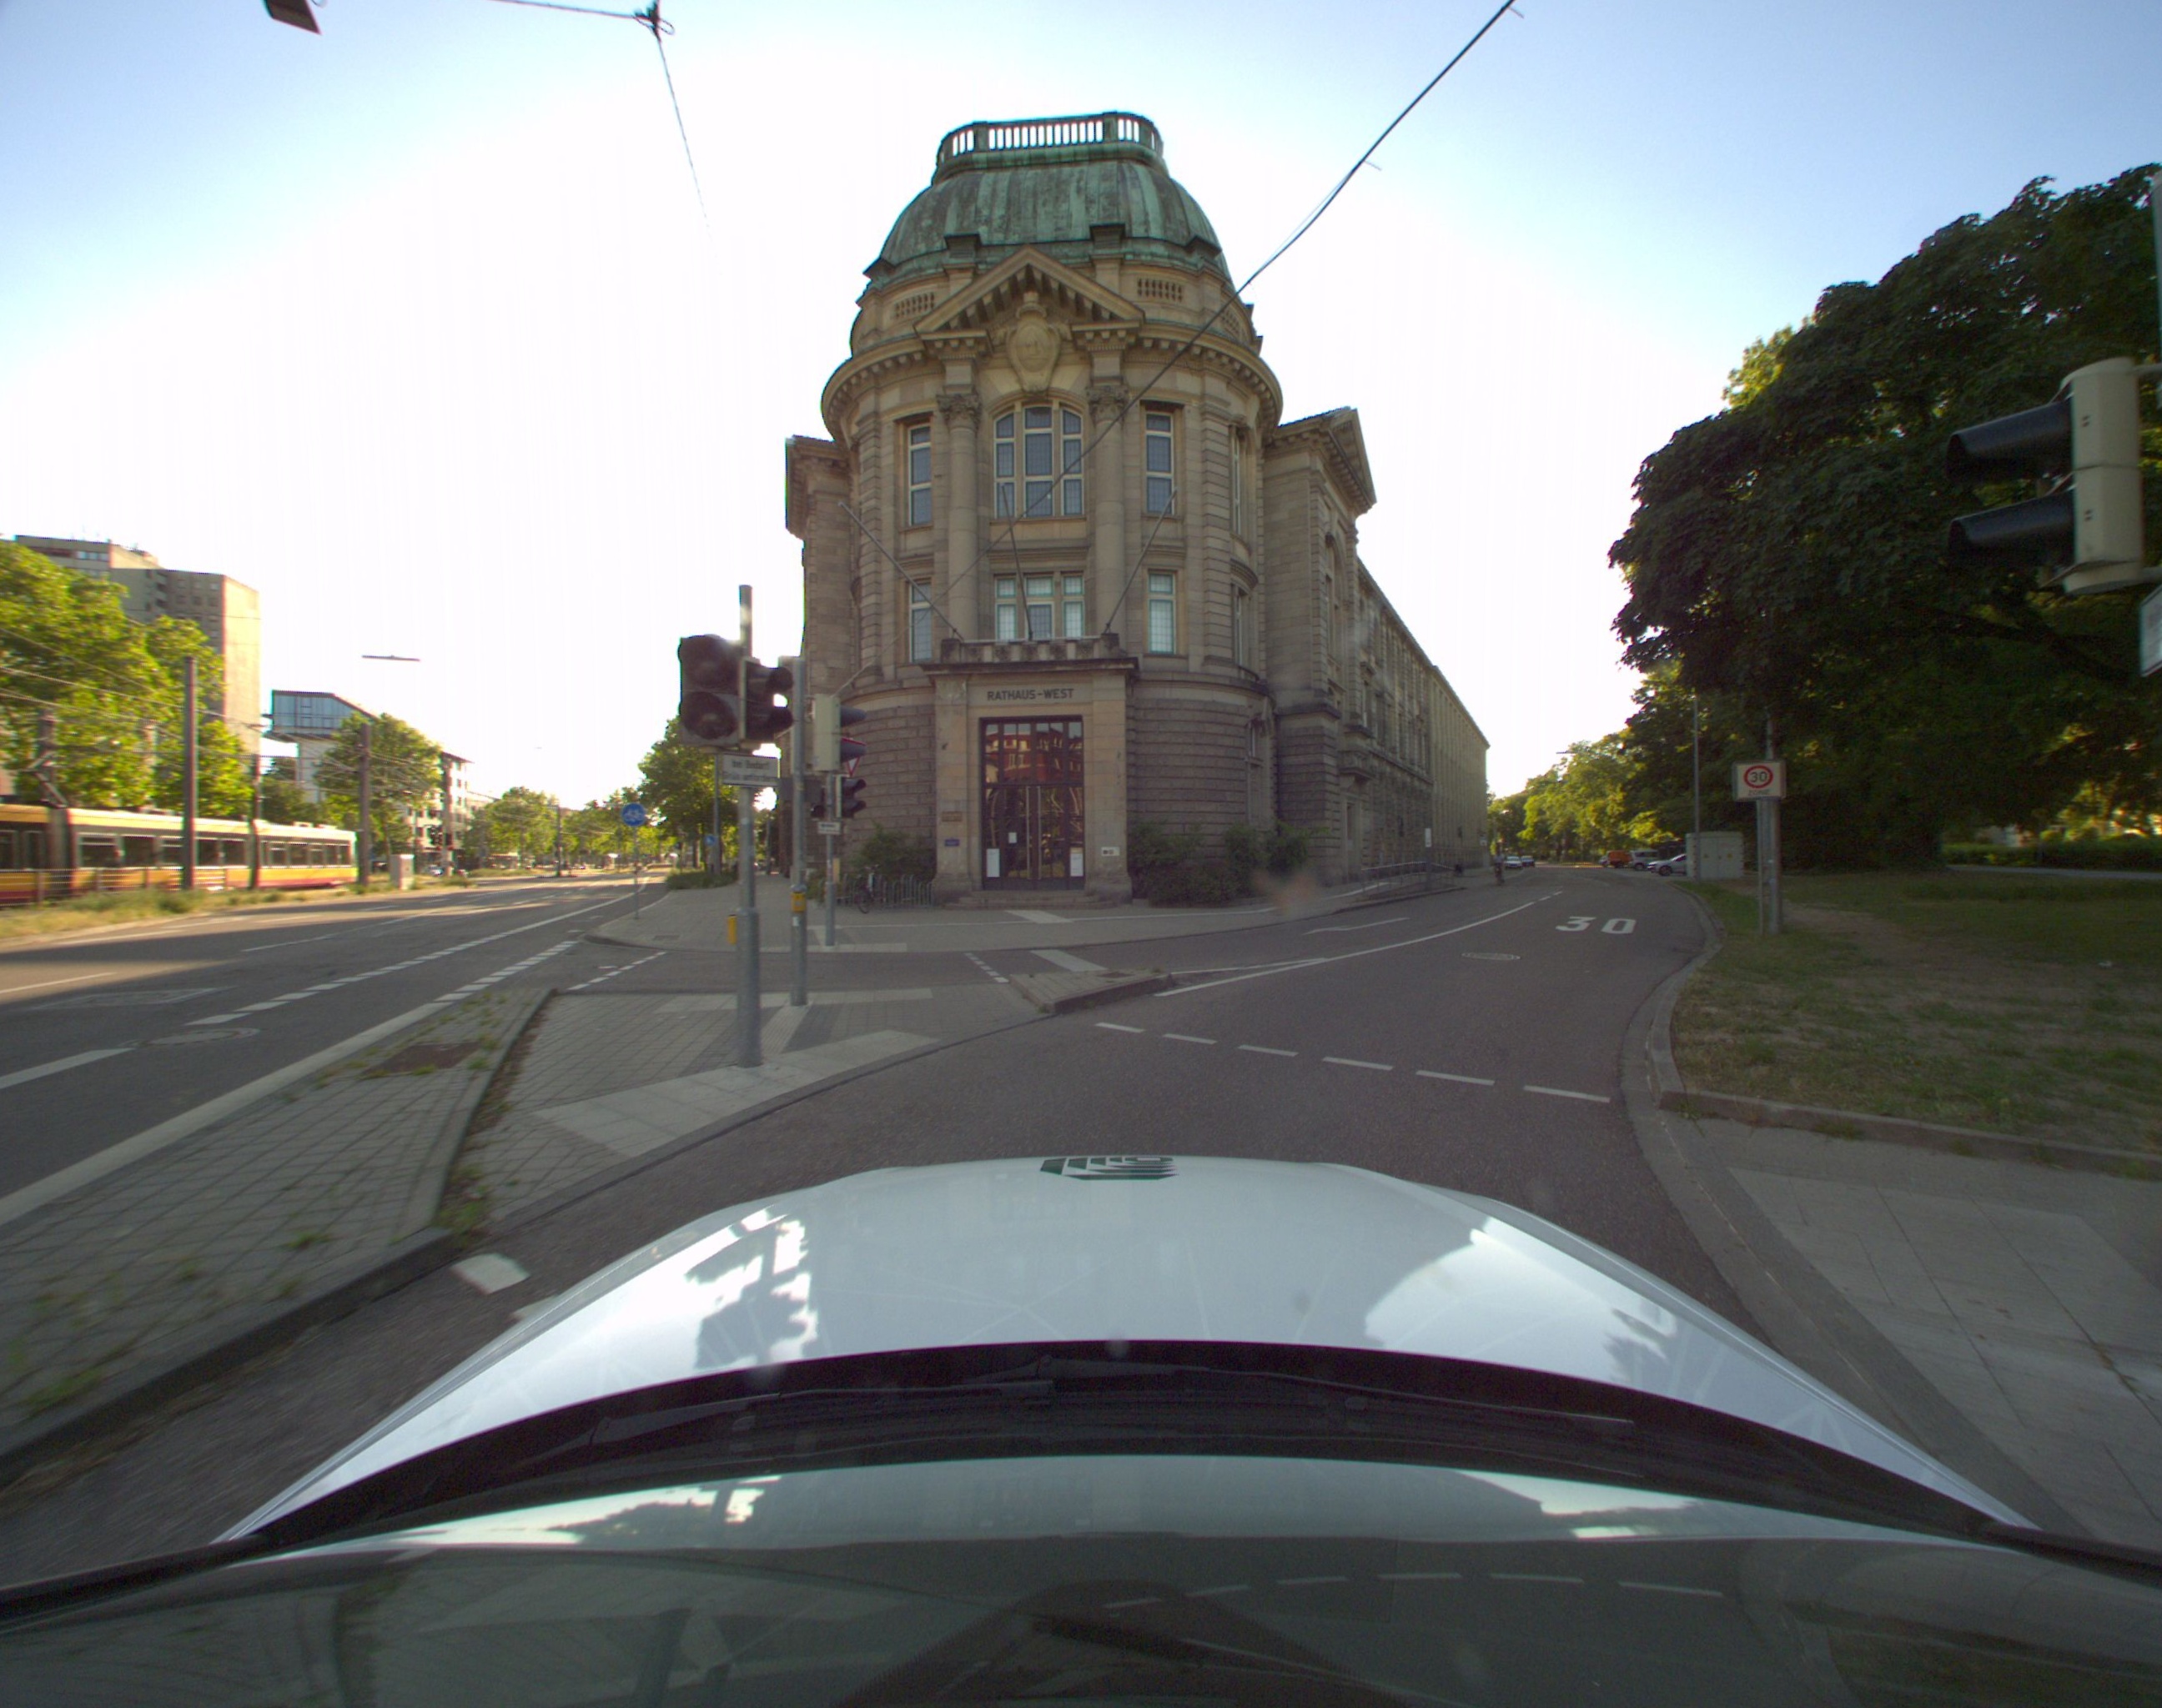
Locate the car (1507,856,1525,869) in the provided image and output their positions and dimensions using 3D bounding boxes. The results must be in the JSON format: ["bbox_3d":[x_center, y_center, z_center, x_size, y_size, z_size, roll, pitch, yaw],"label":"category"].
[{"bbox_3d":[48.679,0.963,91.238,1.711,1.397,4.399,-1,-1,28],"label":"car"}]

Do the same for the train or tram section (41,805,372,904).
[{"bbox_3d":[-39.713,0.137,38.825,3.126,3.559,19.774,-1,-1,-24],"label":"train or tram section"}]

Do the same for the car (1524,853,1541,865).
[{"bbox_3d":[58.637,0.669,105.779,1.861,1.466,4.399,-1,0,28],"label":"car"}]

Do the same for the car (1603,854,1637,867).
[{"bbox_3d":[64.662,0.789,97.808,3.115,1.503,1.549,-3,-2,24],"label":"car"}]

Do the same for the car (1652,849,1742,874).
[{"bbox_3d":[39.346,0.509,52.160,4.398,1.469,1.793,-2,-1,30],"label":"car"}]

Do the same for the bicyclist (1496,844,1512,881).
[{"bbox_3d":[21.234,0.437,40.915,0.639,1.807,0.785,-1,-1,26],"label":"bicyclist"}]

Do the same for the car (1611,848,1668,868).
[{"bbox_3d":[60.430,0.448,88.276,4.775,2.014,1.812,-3,-2,24],"label":"car"}]

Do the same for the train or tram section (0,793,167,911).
[{"bbox_3d":[-33.575,-0.076,21.931,3.119,3.559,17.379,-1,0,-16],"label":"train or tram section"}]

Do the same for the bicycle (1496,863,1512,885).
[{"bbox_3d":[21.209,0.979,40.847,0.656,1.070,2.166,-1,-1,26],"label":"bicycle"}]

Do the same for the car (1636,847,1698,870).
[{"bbox_3d":[51.129,0.430,71.186,4.187,1.860,2.012,-3,-2,32],"label":"car"}]

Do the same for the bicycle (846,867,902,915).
[{"bbox_3d":[-5.548,0.962,21.963,0.863,1.196,2.240,-1,-1,2],"label":"bicycle"}]

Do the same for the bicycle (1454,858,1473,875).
[{"bbox_3d":[25.472,0.827,54.211,0.844,1.101,1.994,1,0,35],"label":"bicycle"}]

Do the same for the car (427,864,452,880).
[{"bbox_3d":[-64.141,1.768,81.444,1.617,1.529,3.520,0,-1,-33],"label":"car"}]
